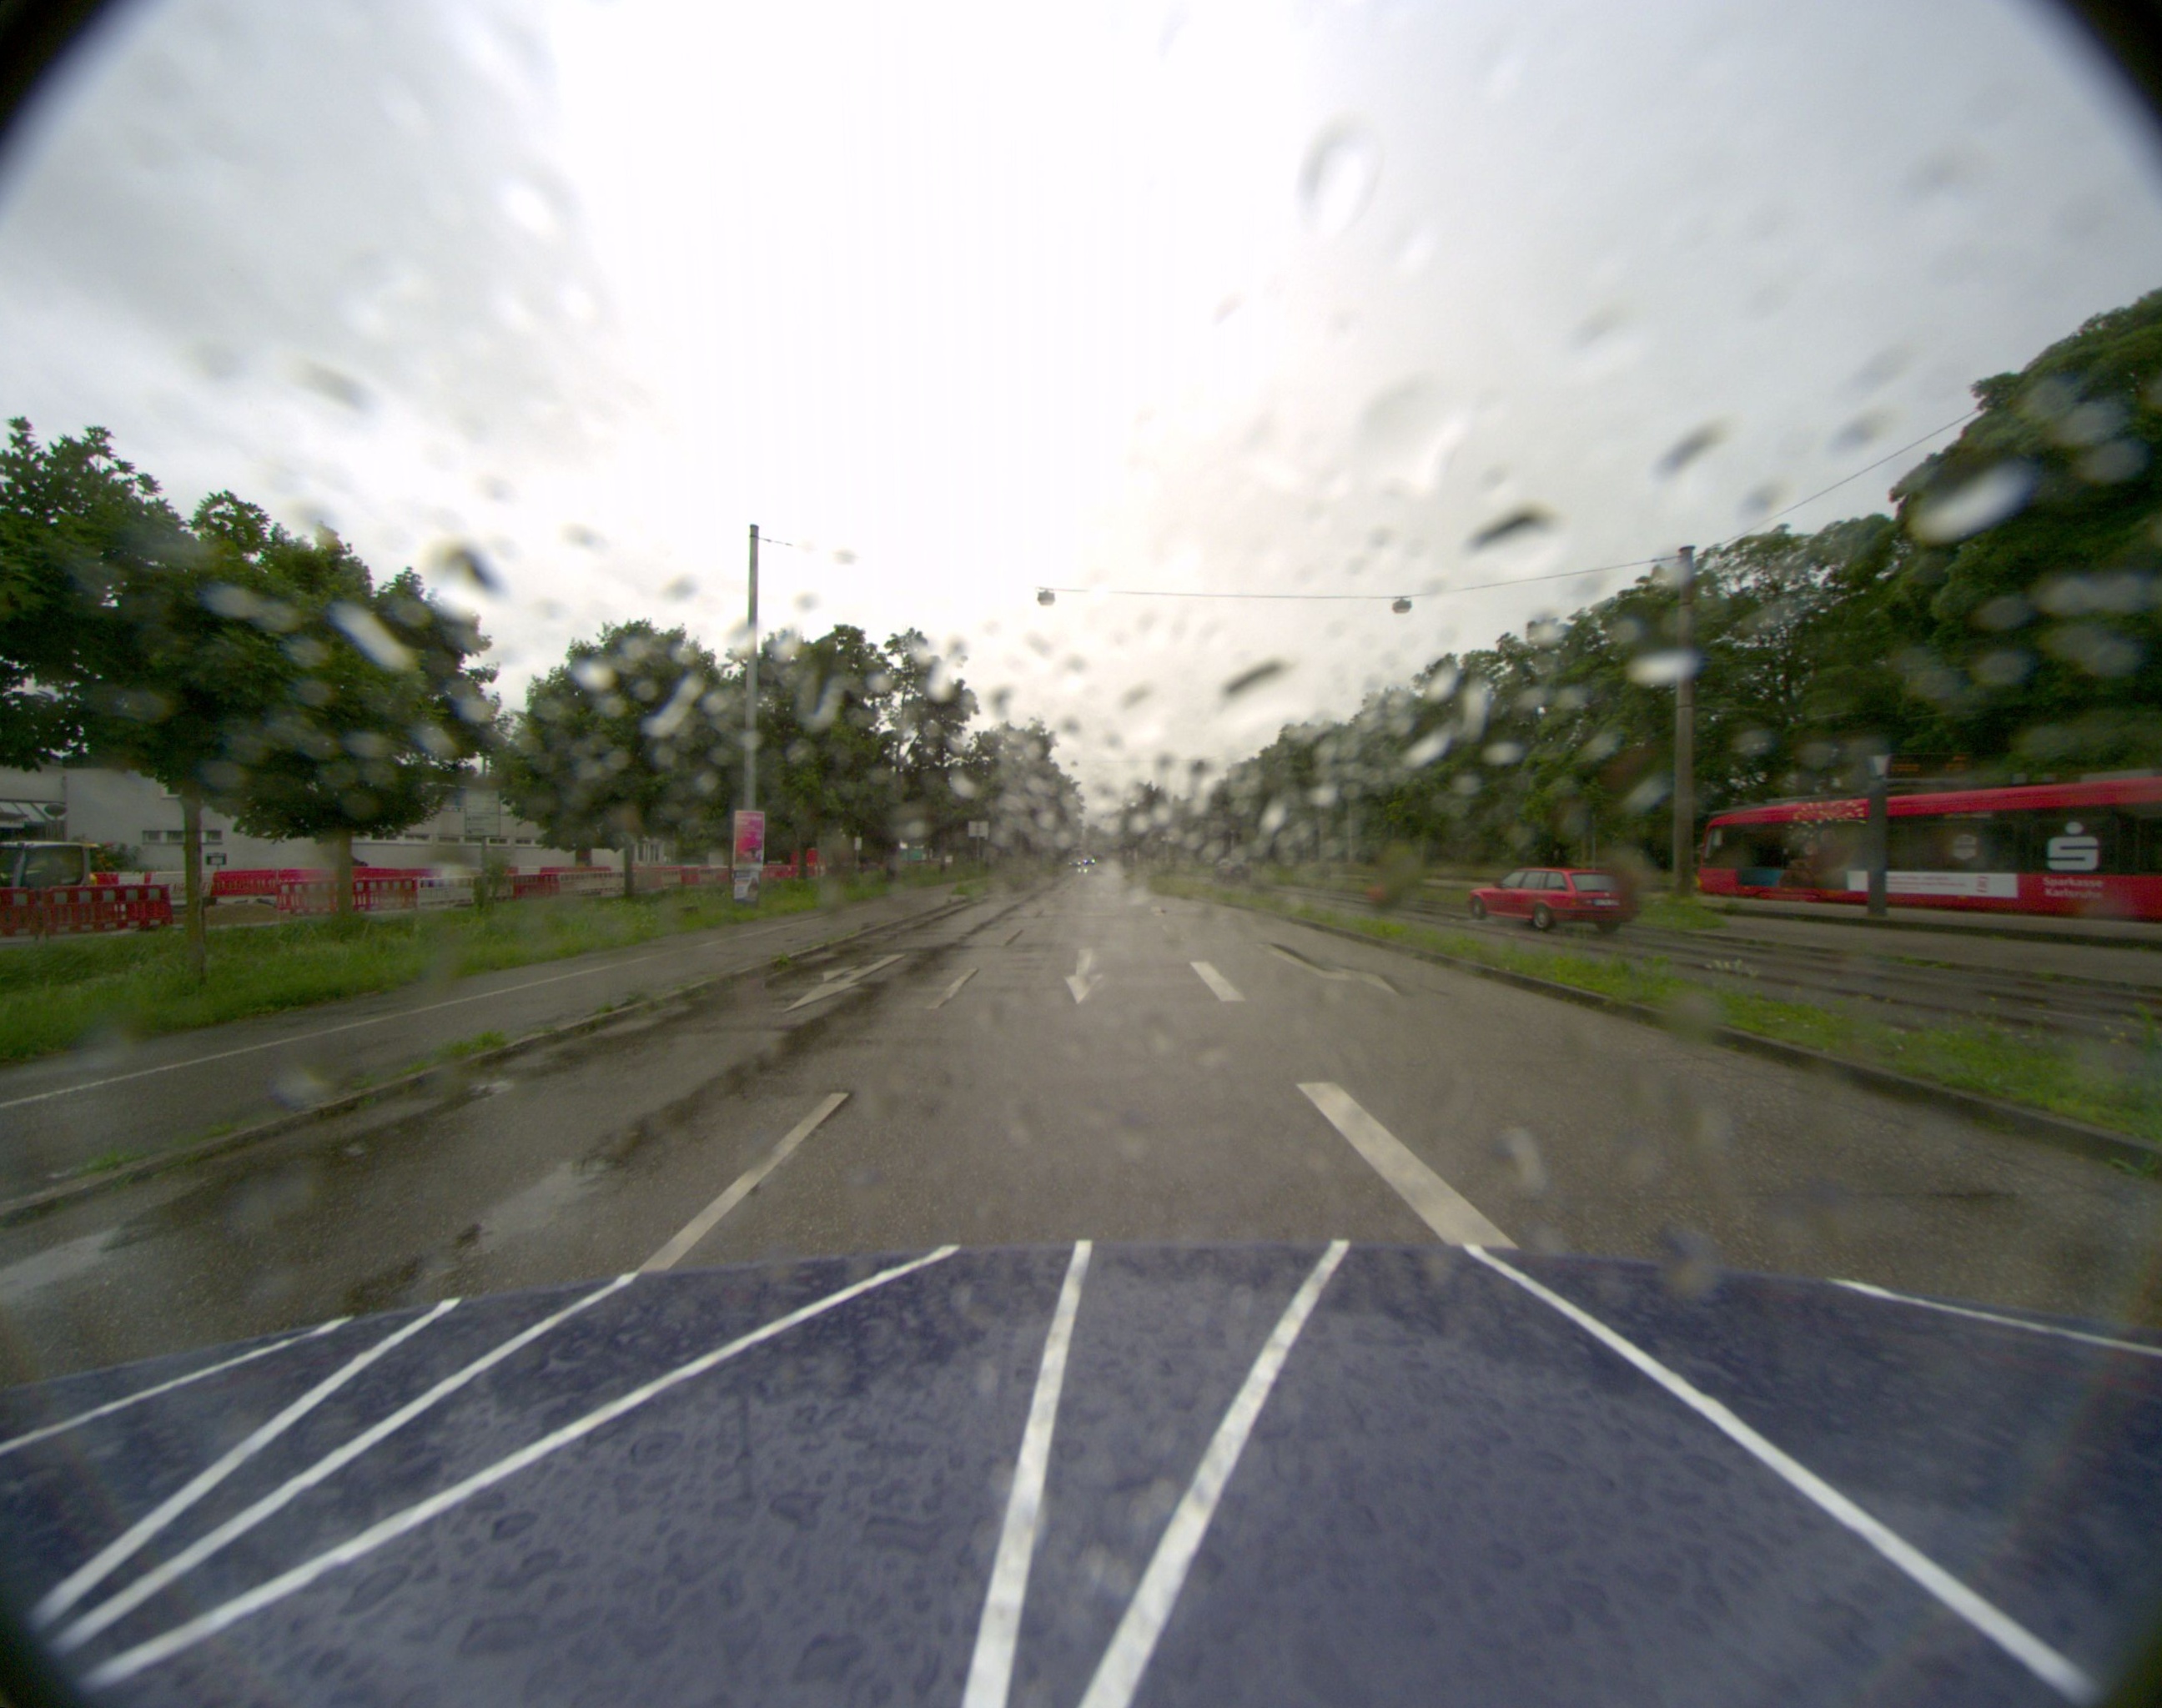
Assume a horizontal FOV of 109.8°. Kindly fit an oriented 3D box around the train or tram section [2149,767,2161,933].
[{"bbox_3d":[23.772,-0.073,10.533,3.542,3.381,10.260,0,0,1],"label":"train or tram section"}]

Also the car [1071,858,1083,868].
[{"bbox_3d":[-0.688,1.563,130.233,1.858,1.583,3.999,-2,1,-1],"label":"car"}]

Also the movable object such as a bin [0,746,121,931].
[{"bbox_3d":[-26.513,-0.344,18.275,1.557,4.401,3.909,-2,1,2],"label":"movable object such as a bin"}]

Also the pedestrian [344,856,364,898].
[{"bbox_3d":[-31.705,1.004,33.151,0.363,1.831,0.496,0,1,1],"label":"pedestrian"}]

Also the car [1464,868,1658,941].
[{"bbox_3d":[10.865,1.077,17.622,1.685,1.353,4.250,2,0,-2],"label":"car"}]

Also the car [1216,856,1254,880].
[{"bbox_3d":[10.022,0.876,49.763,1.741,1.428,3.820,-1,1,1],"label":"car"}]

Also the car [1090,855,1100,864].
[{"bbox_3d":[2.891,1.207,156.743,1.812,1.683,3.776,-2,1,0],"label":"car"}]

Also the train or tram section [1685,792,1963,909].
[{"bbox_3d":[23.924,-0.097,25.010,3.542,3.398,5.769,0,0,1],"label":"train or tram section"}]

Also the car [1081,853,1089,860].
[{"bbox_3d":[1.023,0.590,196.302,1.898,1.602,3.999,-2,1,0],"label":"car"}]

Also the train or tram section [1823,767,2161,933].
[{"bbox_3d":[23.877,-0.090,18.700,3.542,3.392,7.902,0,0,1],"label":"train or tram section"}]

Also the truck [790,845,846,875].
[{"bbox_3d":[-27.669,0.551,80.453,2.811,2.882,8.748,-2,1,-1],"label":"truck"}]
